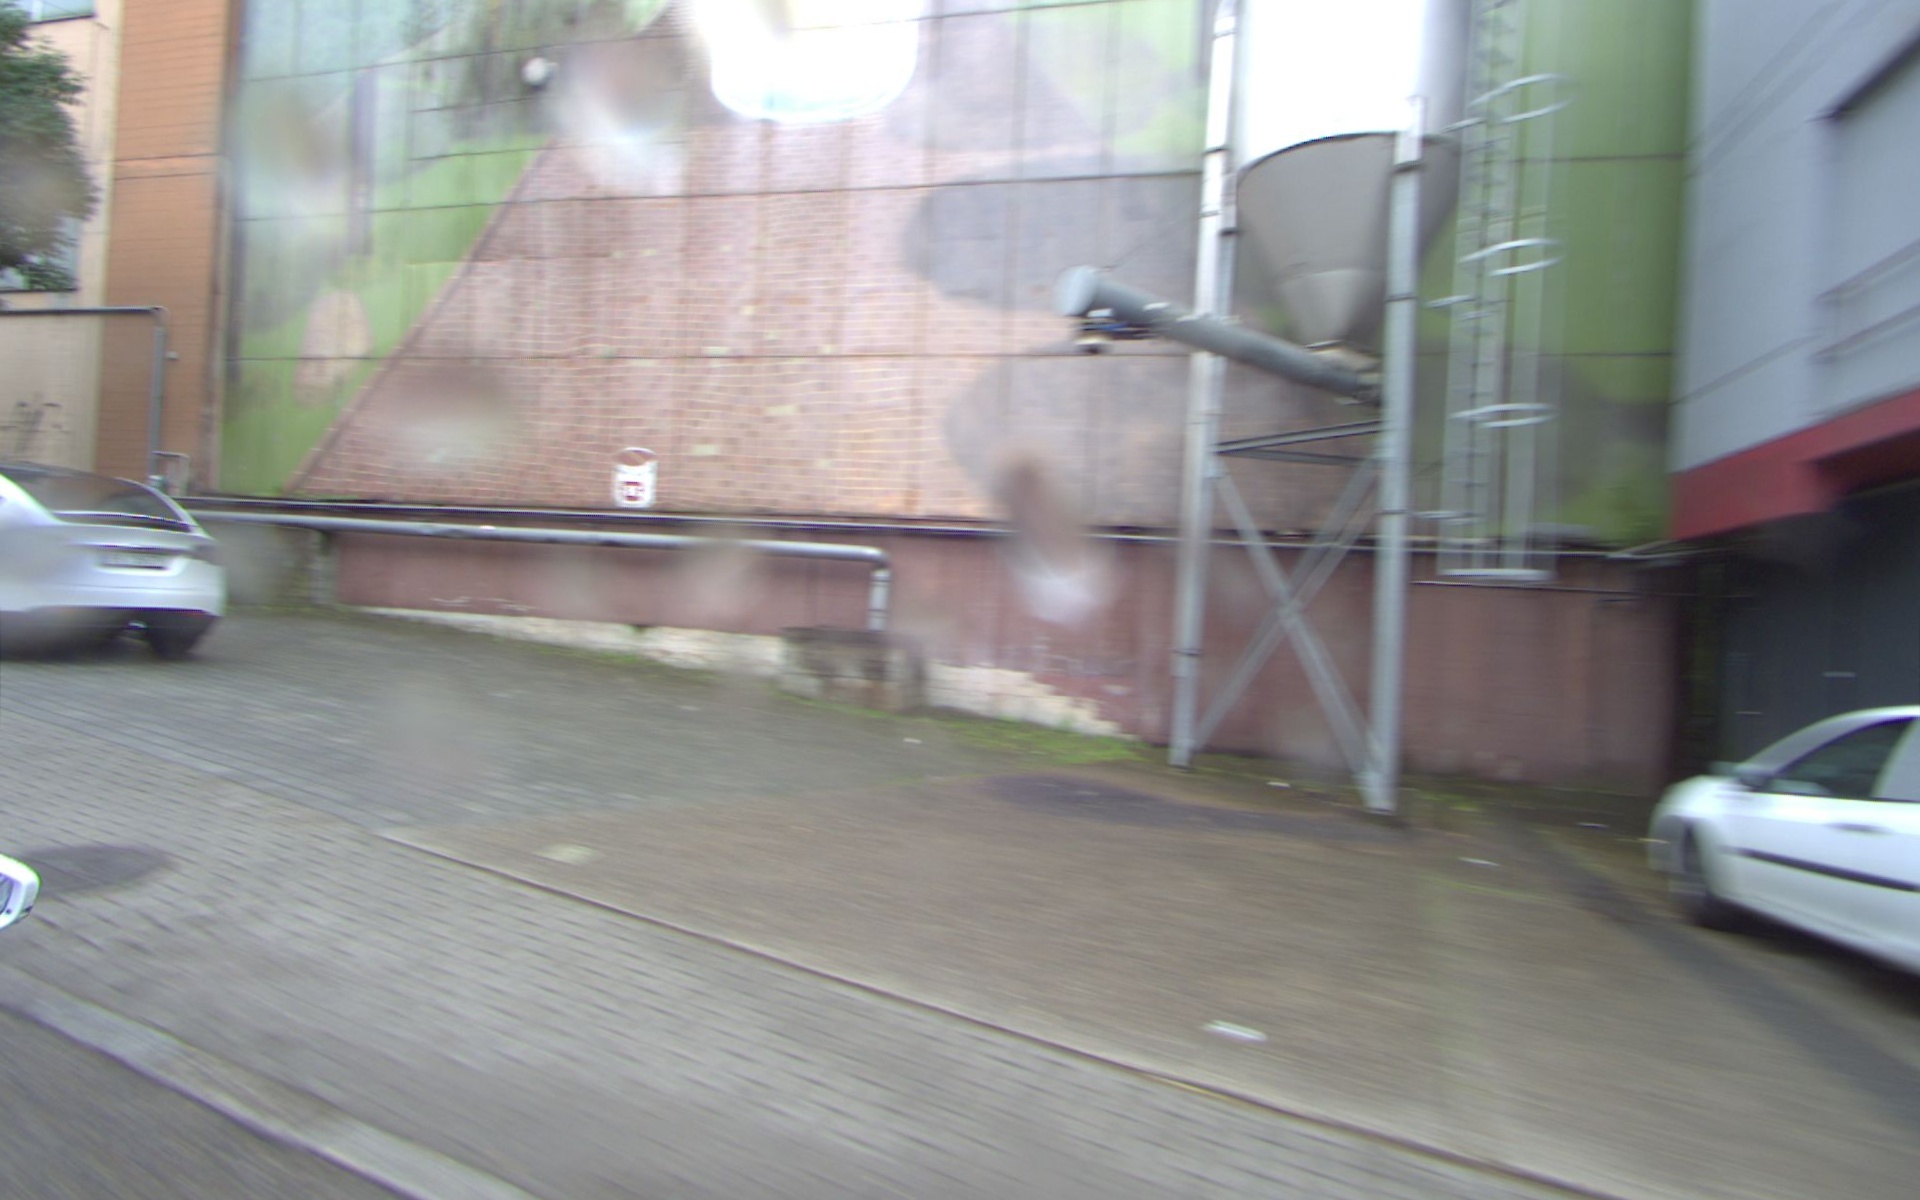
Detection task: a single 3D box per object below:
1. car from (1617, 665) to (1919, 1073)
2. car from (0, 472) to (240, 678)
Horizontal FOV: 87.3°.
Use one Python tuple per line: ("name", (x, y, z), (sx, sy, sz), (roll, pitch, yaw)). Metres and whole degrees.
("car", (5.303, 1.326, 5.120), (1.839, 1.553, 3.990), (4, 2, 12))
("car", (-9.468, -0.429, 9.715), (4.827, 1.638, 1.857), (7, 1, 25))
